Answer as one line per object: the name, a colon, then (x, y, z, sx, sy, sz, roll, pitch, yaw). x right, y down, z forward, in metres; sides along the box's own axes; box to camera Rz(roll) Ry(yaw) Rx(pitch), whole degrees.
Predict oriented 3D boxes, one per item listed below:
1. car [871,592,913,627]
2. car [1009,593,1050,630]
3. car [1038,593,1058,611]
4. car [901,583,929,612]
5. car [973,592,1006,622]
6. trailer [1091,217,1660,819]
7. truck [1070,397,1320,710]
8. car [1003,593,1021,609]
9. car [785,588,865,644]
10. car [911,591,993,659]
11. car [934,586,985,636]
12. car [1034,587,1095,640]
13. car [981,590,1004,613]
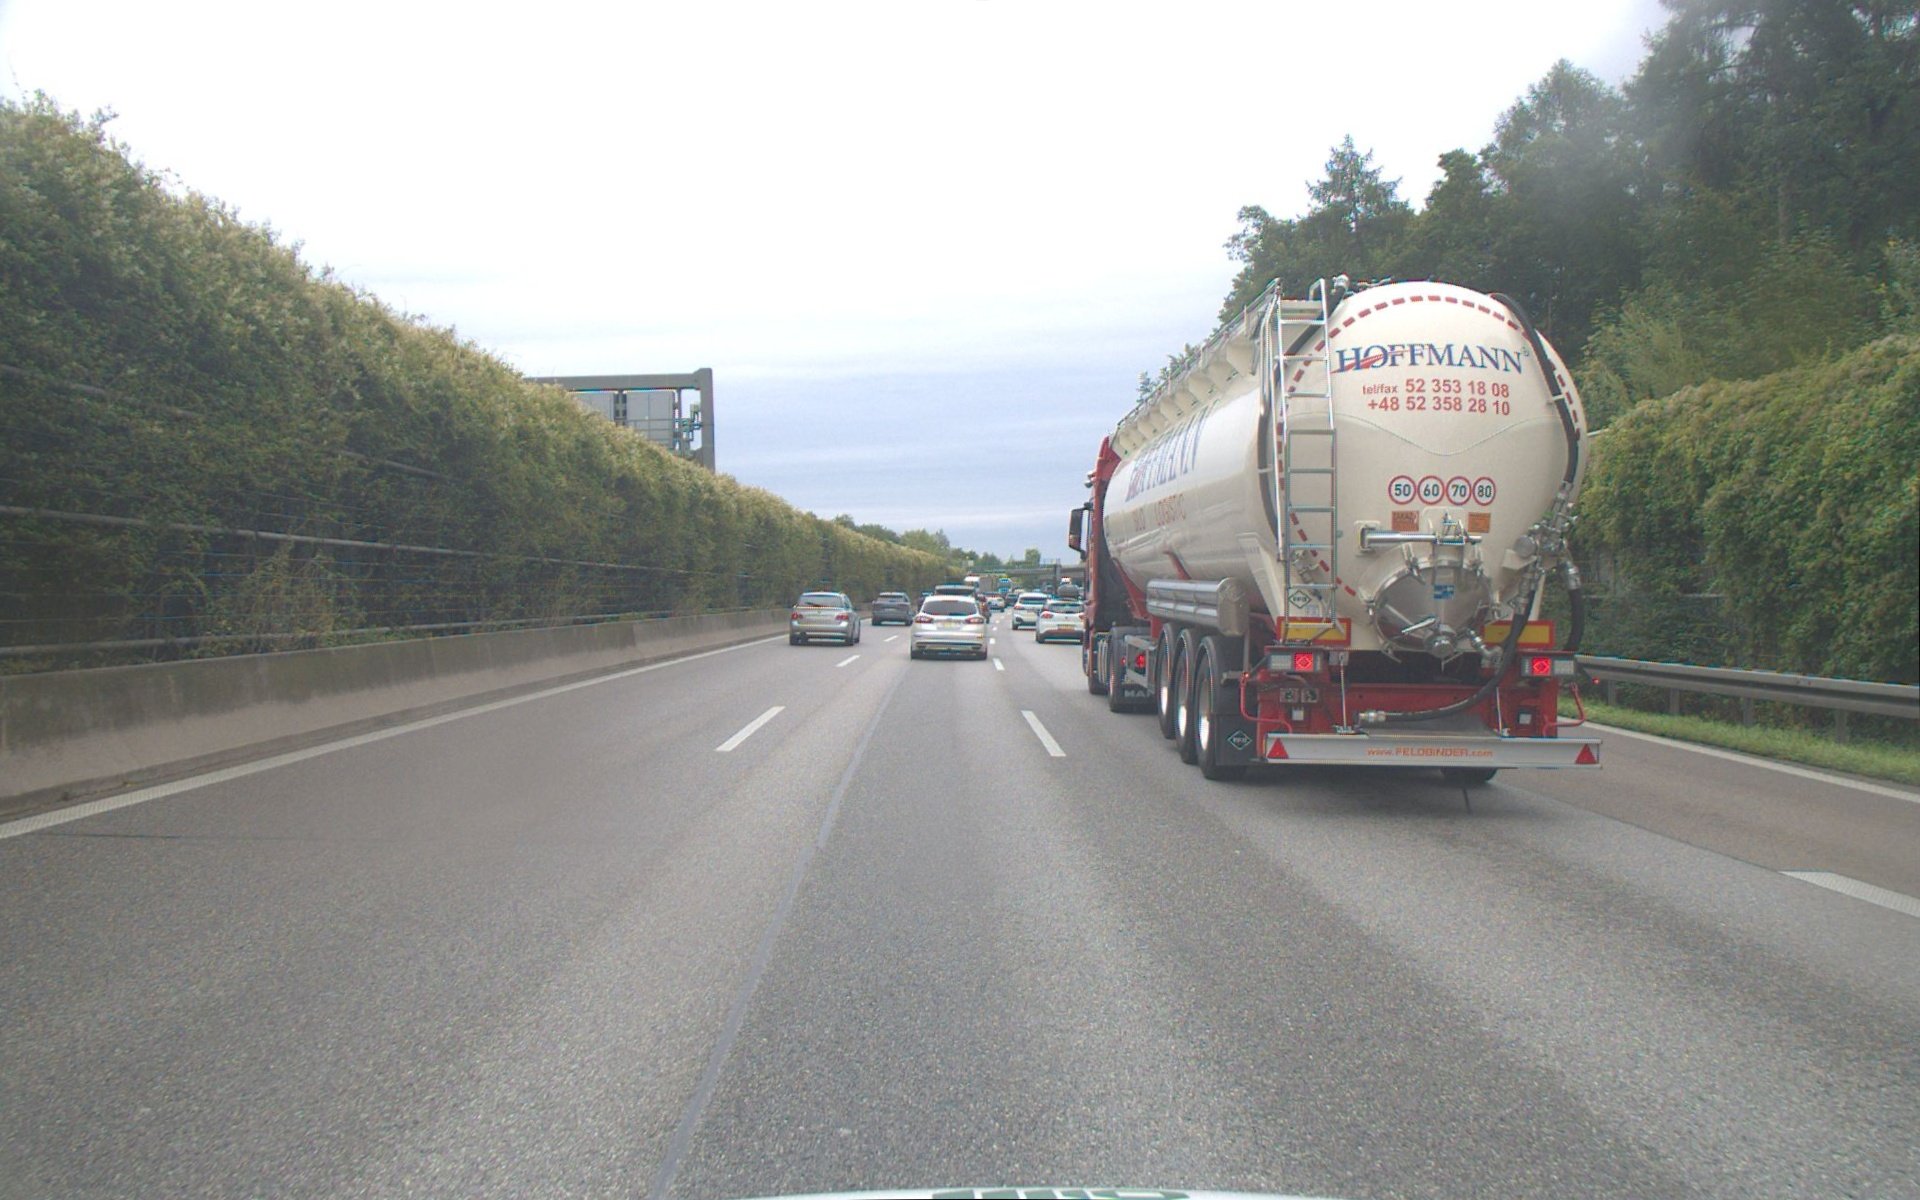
car: (-3.035, 0.408, 74.761, 1.685, 1.538, 5.030, 0, 0, 0)
car: (2.998, 0.492, 71.682, 1.654, 1.533, 3.872, 0, 0, 1)
car: (7.846, 0.198, 148.192, 1.654, 1.566, 3.872, 0, 1, 1)
car: (-3.167, -0.176, 115.769, 1.953, 2.049, 3.840, 0, 0, -2)
car: (1.488, 0.337, 84.818, 1.654, 1.533, 3.872, 0, 0, 1)
trailer: (3.296, -0.524, 17.598, 2.614, 4.008, 13.127, 0, 0, -1)
truck: (3.227, -0.582, 24.420, 2.640, 3.981, 6.554, 0, 0, -1)
car: (5.099, 0.089, 162.109, 1.653, 1.566, 3.873, 0, 1, 3)
car: (-3.837, 0.419, 47.693, 1.684, 1.494, 5.032, 0, 1, 2)
car: (-0.177, 0.565, 39.981, 1.853, 1.530, 5.030, 0, 0, 0)
car: (-0.042, 0.354, 58.443, 1.655, 1.532, 3.871, 4, 1, -1)
car: (3.380, 0.422, 54.016, 1.778, 1.654, 5.031, 0, 0, 1)
car: (2.632, 0.139, 132.779, 1.752, 1.811, 3.872, -1, 0, 2)
